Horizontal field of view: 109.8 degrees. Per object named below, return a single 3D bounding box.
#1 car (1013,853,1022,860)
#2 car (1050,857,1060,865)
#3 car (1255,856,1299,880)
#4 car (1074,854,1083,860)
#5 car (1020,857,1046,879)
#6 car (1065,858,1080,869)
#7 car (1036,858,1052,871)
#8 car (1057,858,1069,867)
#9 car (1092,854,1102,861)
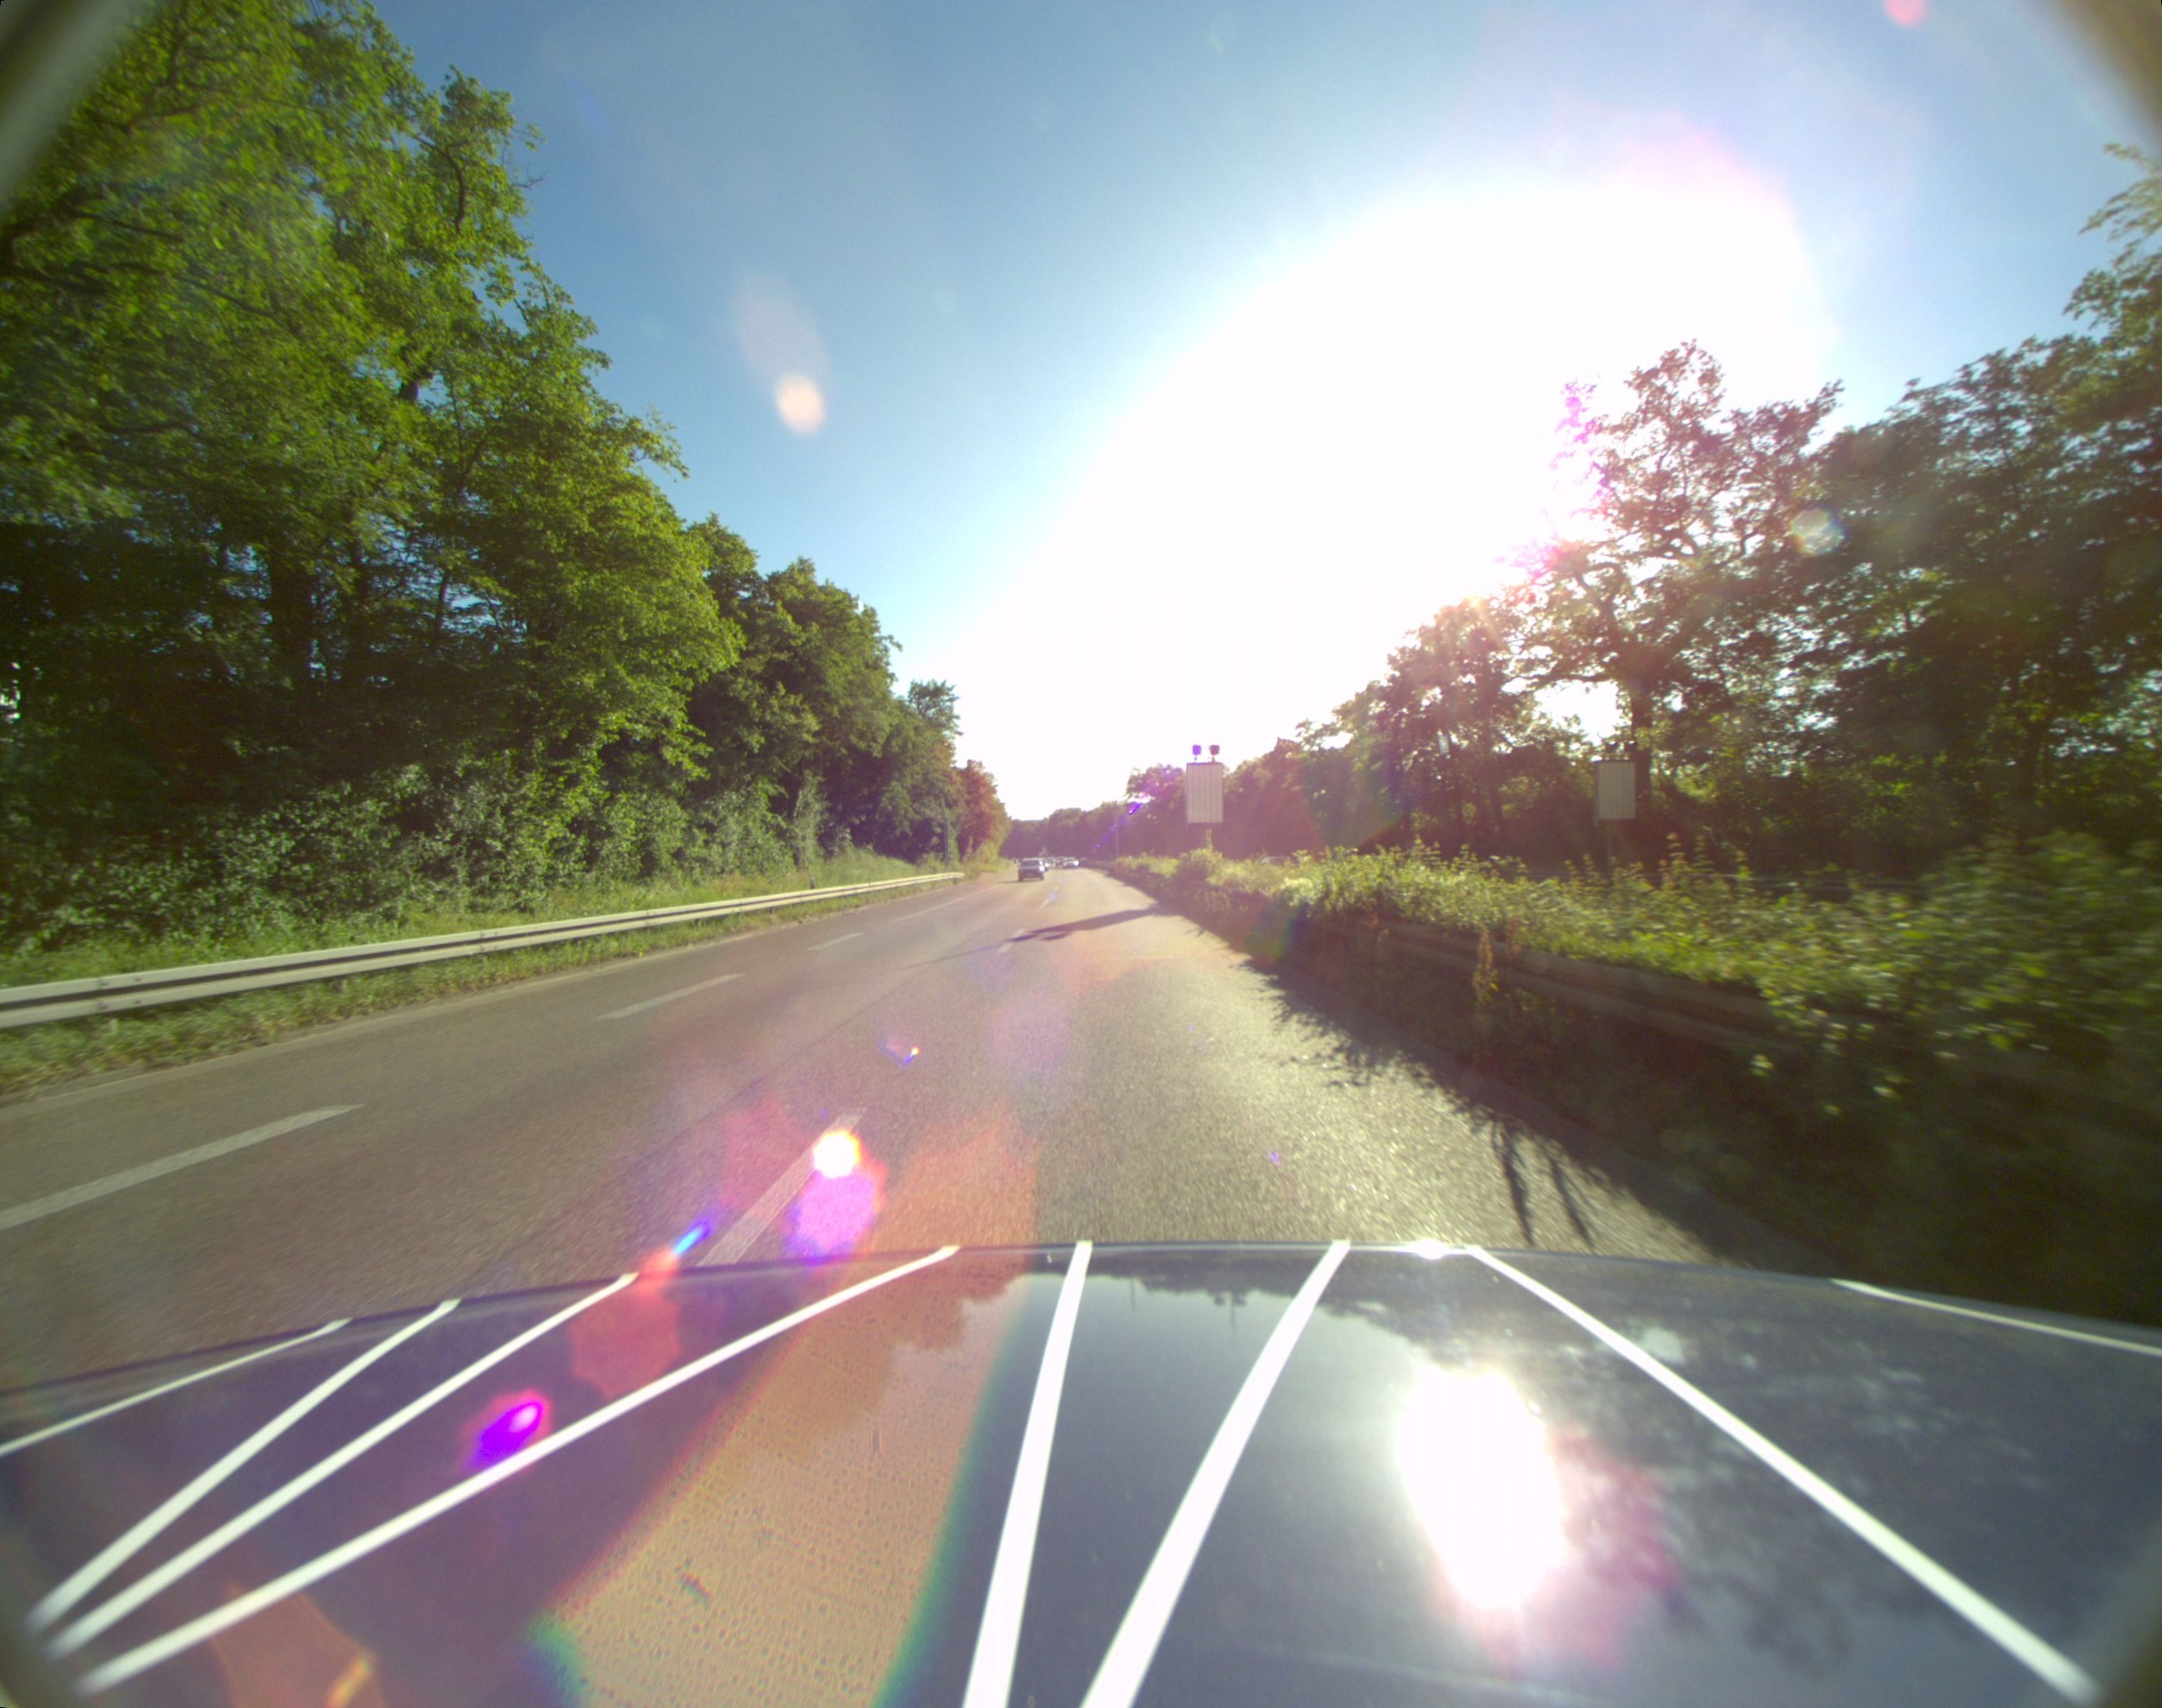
[{"bbox_3d":[-19.437,0.798,232.410,2.000,2.002,3.996,-1,0,-11],"label":"car"},{"bbox_3d":[-4.892,1.364,144.914,1.801,1.453,4.401,-1,0,-3],"label":"car"},{"bbox_3d":[12.675,0.895,49.414,1.713,1.416,4.132,-1,0,-1],"label":"car"},{"bbox_3d":[-0.597,0.916,215.713,2.077,1.604,5.056,-2,0,-5],"label":"car"},{"bbox_3d":[-3.456,0.974,54.161,1.801,1.453,4.354,-1,0,-5],"label":"car"},{"bbox_3d":[-1.166,1.225,99.780,1.904,1.453,4.355,-1,0,-1],"label":"car"},{"bbox_3d":[-4.370,1.239,89.159,1.801,1.453,4.354,-1,0,-5],"label":"car"},{"bbox_3d":[-3.072,1.369,130.162,1.801,1.453,4.355,-1,0,-3],"label":"car"},{"bbox_3d":[4.089,0.879,191.891,2.125,1.715,5.874,-2,0,-3],"label":"car"}]
